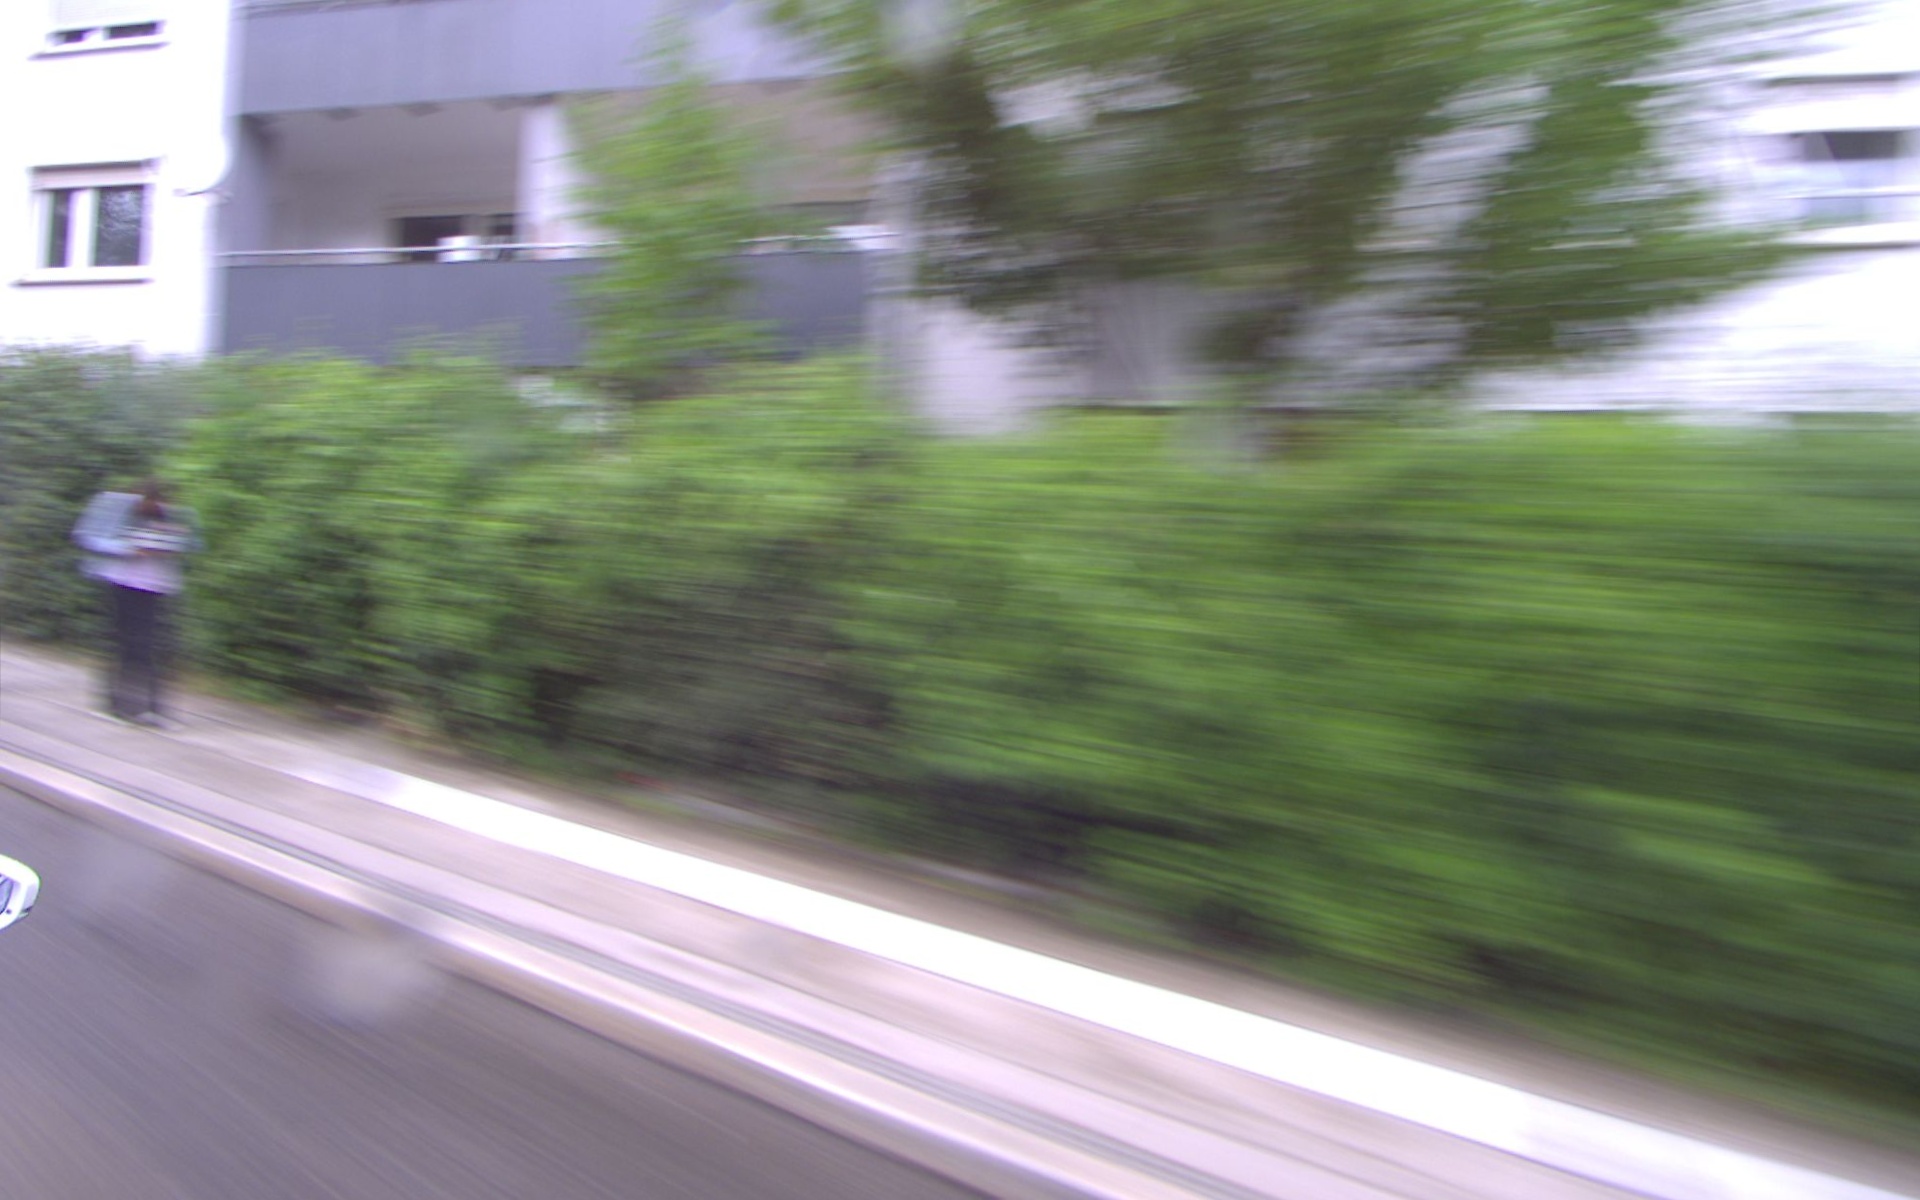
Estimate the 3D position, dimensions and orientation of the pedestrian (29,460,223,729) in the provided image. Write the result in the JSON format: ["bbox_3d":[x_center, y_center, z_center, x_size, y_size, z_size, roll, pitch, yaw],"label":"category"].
[{"bbox_3d":[-5.442,-0.024,6.582,0.619,1.639,0.657,6,-1,31],"label":"pedestrian"}]

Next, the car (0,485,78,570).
[{"bbox_3d":[-19.288,-1.590,18.594,1.783,1.483,4.003,7,-2,21],"label":"car"}]
